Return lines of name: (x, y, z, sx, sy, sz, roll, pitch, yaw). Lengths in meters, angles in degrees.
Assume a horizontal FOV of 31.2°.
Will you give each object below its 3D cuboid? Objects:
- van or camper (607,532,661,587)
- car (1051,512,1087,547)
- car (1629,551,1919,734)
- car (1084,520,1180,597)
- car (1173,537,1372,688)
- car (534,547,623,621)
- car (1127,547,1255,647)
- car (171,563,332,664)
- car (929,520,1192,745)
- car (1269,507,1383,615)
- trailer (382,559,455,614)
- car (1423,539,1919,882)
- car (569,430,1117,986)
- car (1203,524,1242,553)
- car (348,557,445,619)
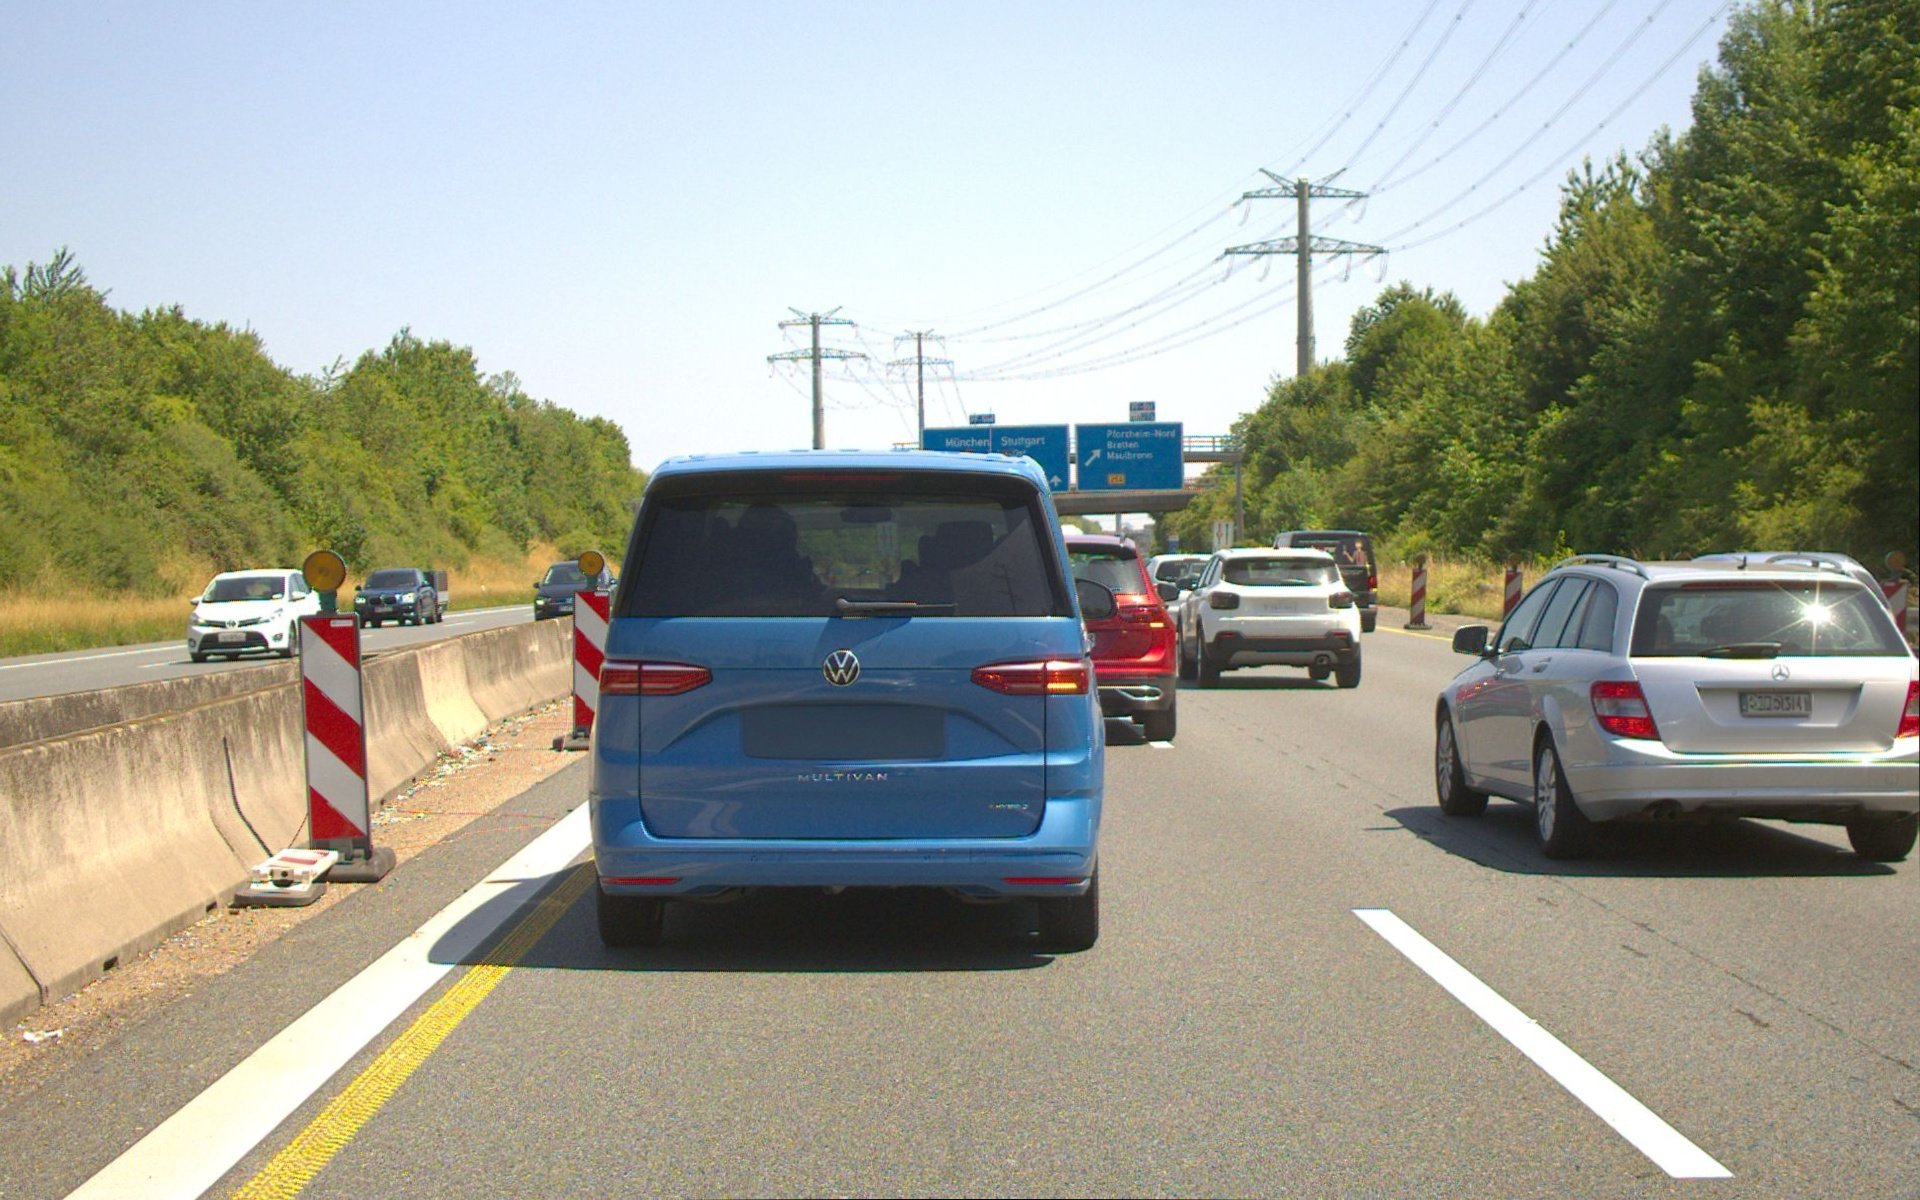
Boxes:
van or camper: (-17.007, -2.135, 179.669, 2.222, 2.701, 7.081, -3, 1, -2)
car: (7.929, -5.139, 250.814, 2.377, 2.420, 4.227, 1, 1, -1)
car: (6.964, 0.318, 29.381, 1.701, 1.443, 3.788, 1, 1, -1)
car: (3.684, -0.889, 74.210, 1.797, 1.588, 4.227, 1, 1, -1)
car: (3.473, 0.109, 38.864, 1.797, 1.588, 4.227, 1, 1, -1)
car: (-9.129, -0.396, 82.518, 1.773, 1.693, 4.171, 1, 1, -1)
car: (3.841, -0.077, 57.821, 1.797, 1.588, 4.227, 1, 1, -1)
car: (-12.581, 0.206, 61.278, 1.993, 1.656, 4.230, -1, 1, -1)
car: (0.735, 0.218, 27.971, 1.874, 1.665, 4.360, 1, 1, -1)
car: (7.075, -0.762, 66.817, 1.798, 2.007, 4.227, 1, 1, 1)
trailer: (-16.321, -0.422, 103.774, 1.568, 1.546, 3.779, -3, 1, 0)
car: (3.603, 0.472, 17.546, 1.770, 1.512, 4.360, 1, 1, -1)
car: (-0.461, 0.352, 14.130, 1.874, 1.905, 4.360, 1, 1, -1)
car: (15.689, -3.655, 205.636, 1.874, 1.665, 4.360, 1, 1, -1)
car: (-16.293, -0.369, 99.560, 1.993, 1.644, 4.630, -3, 1, 0)
